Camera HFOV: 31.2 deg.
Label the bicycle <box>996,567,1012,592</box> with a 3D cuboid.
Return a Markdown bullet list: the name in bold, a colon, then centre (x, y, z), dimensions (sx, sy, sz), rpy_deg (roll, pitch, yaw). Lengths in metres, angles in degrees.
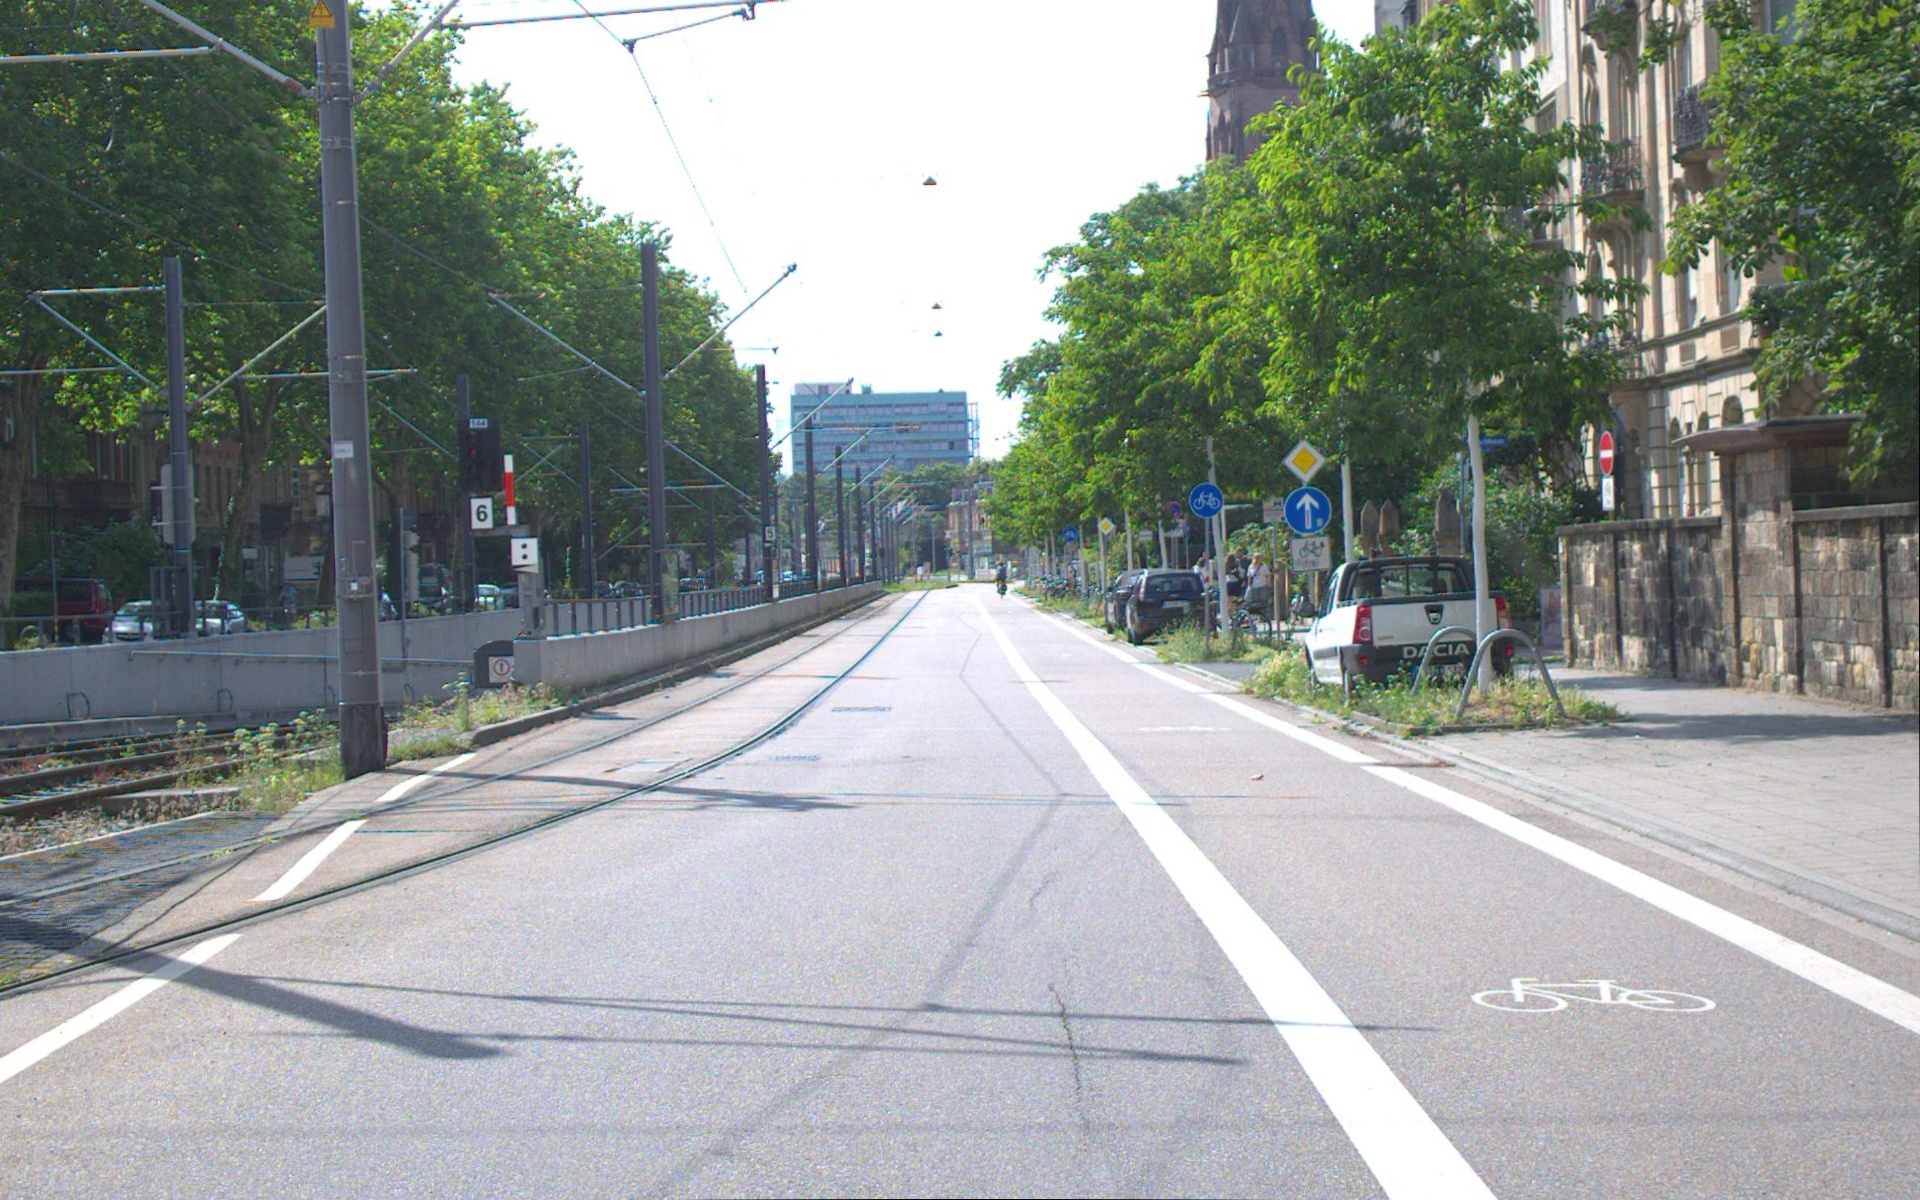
- **bicycle**: centre (2.245, -1.026, 174.859), dimensions (0.799, 1.232, 2.777), rpy_deg (-2, 0, 1)

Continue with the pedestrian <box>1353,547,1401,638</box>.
- **pedestrian**: centre (7.569, -0.131, 62.421), dimensions (0.723, 1.623, 0.725), rpy_deg (-2, 0, 0)

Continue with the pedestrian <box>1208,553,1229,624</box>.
- **pedestrian**: centre (6.274, -0.288, 83.524), dimensions (0.318, 1.701, 0.460), rpy_deg (-4, 1, 14)

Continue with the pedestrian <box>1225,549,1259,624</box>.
- **pedestrian**: centre (6.928, -0.335, 84.396), dimensions (0.669, 1.798, 0.319), rpy_deg (-4, 1, -1)

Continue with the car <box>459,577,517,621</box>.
- **car**: centre (-20.660, -0.046, 150.592), dimensions (1.839, 1.722, 4.000), rpy_deg (-4, 1, 0)

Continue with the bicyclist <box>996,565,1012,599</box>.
- **bicyclist**: centre (2.254, -0.924, 174.924), dimensions (0.770, 1.724, 1.026), rpy_deg (-2, 0, 1)

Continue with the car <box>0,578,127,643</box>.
- **car**: centre (-28.653, 0.337, 108.083), dimensions (4.401, 1.912, 2.000), rpy_deg (-2, 0, -1)

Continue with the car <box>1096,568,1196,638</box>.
- **car**: centre (4.389, 0.048, 81.826), dimensions (1.798, 1.521, 4.490), rpy_deg (-4, 1, -3)

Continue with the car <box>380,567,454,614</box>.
- **car**: centre (-20.896, -0.378, 132.401), dimensions (1.994, 1.631, 4.000), rpy_deg (-4, 1, 2)

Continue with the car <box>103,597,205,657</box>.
- **car**: centre (-20.014, 0.655, 85.504), dimensions (1.497, 1.299, 3.491), rpy_deg (-4, 1, 2)

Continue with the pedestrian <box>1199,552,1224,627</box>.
- **pedestrian**: centre (6.162, -0.264, 84.302), dimensions (0.459, 1.798, 0.319), rpy_deg (-4, 1, -1)

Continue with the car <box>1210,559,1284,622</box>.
- **car**: centre (6.861, -0.238, 82.034), dimensions (1.669, 1.411, 3.585), rpy_deg (-2, 1, 5)

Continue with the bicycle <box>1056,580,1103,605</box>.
- **bicycle**: centre (4.887, -0.317, 140.591), dimensions (1.816, 0.899, 0.652), rpy_deg (-4, 1, -3)

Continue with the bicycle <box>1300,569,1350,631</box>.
- **bicycle**: centre (7.741, -0.017, 73.033), dimensions (0.658, 1.244, 2.943), rpy_deg (-5, 0, 0)

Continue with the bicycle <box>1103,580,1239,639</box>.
- **bicycle**: centre (4.798, 0.217, 78.304), dimensions (2.945, 1.242, 0.793), rpy_deg (-2, 0, -12)

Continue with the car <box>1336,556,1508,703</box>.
- **car**: centre (4.801, 0.260, 35.555), dimensions (1.669, 1.411, 3.843), rpy_deg (0, 1, 8)

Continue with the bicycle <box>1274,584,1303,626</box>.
- **bicycle**: centre (7.663, 0.108, 80.166), dimensions (0.427, 0.936, 1.807), rpy_deg (-5, 0, 0)

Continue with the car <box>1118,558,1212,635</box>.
- **car**: centre (4.253, -0.106, 71.805), dimensions (1.686, 1.497, 4.708), rpy_deg (-2, 1, 1)

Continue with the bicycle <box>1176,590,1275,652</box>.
- **bicycle**: centre (4.840, 0.376, 62.718), dimensions (1.705, 1.066, 0.471), rpy_deg (-2, 0, -5)

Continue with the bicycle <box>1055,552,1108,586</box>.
- **bicycle**: centre (4.521, -1.153, 127.941), dimensions (1.815, 1.141, 0.652), rpy_deg (-4, 1, -11)
